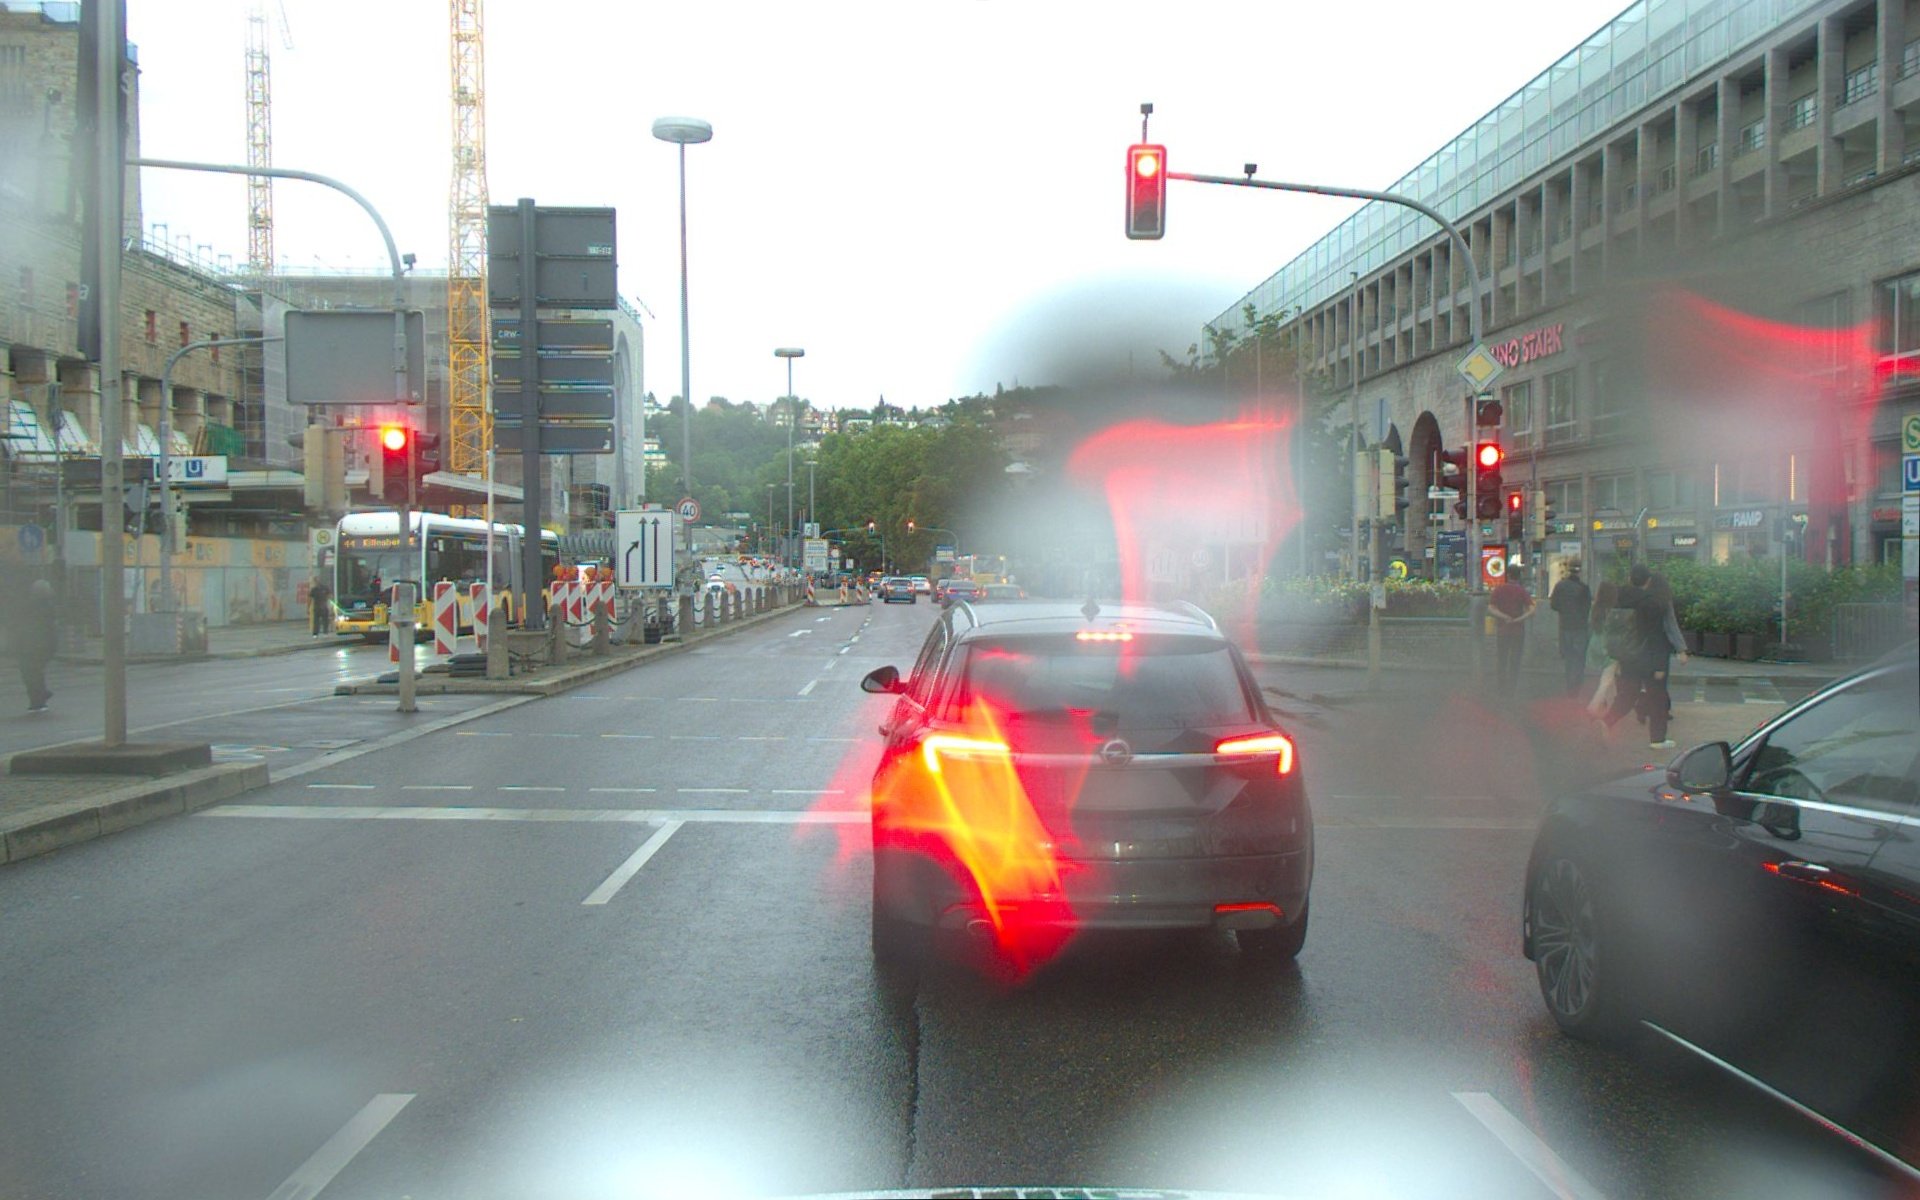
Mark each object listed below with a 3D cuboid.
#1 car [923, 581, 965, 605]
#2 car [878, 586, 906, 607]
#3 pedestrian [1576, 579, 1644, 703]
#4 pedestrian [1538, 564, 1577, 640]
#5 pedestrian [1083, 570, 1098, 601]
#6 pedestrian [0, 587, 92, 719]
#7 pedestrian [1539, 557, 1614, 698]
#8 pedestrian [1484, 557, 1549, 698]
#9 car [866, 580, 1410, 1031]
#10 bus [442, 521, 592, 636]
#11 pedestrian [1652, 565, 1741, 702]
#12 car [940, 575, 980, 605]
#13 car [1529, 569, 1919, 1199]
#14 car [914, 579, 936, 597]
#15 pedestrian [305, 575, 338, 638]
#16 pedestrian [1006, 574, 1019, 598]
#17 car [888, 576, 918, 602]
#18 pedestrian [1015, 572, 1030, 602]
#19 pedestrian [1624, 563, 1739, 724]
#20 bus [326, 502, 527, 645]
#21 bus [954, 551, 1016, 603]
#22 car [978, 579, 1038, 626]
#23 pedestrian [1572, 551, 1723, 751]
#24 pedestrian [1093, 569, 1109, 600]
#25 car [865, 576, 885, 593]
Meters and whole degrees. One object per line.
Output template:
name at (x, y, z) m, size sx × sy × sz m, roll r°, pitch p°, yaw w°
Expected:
car at (-0.978, -0.417, 99.968) m, size 1.722 × 1.422 × 4.389 m, roll 1°, pitch 0°, yaw -12°
car at (-4.745, -0.219, 115.475) m, size 1.808 × 1.422 × 3.563 m, roll 1°, pitch 0°, yaw -1°
pedestrian at (8.014, 0.504, 20.404) m, size 0.665 × 1.500 × 0.366 m, roll 1°, pitch 0°, yaw -6°
pedestrian at (16.288, 0.055, 45.076) m, size 0.751 × 2.049 × 0.820 m, roll 1°, pitch 0°, yaw 41°
pedestrian at (7.535, -0.829, 95.494) m, size 0.748 × 1.720 × 0.824 m, roll 1°, pitch 0°, yaw -5°
pedestrian at (-11.418, 0.645, 20.476) m, size 0.854 × 1.588 × 0.787 m, roll 1°, pitch 0°, yaw 7°
pedestrian at (7.785, 0.340, 20.908) m, size 0.740 × 1.747 × 0.466 m, roll 1°, pitch 0°, yaw -5°
pedestrian at (7.184, 0.354, 21.359) m, size 0.560 × 1.783 × 0.676 m, roll 1°, pitch 0°, yaw 42°
car at (0.568, 0.706, 7.640) m, size 1.837 × 1.512 × 3.999 m, roll 1°, pitch 0°, yaw -1°
bus at (-15.370, -0.683, 58.306) m, size 2.614 × 3.665 × 10.209 m, roll 1°, pitch 0°, yaw -1°
pedestrian at (8.999, 0.408, 20.221) m, size 0.783 × 1.636 × 0.619 m, roll 1°, pitch 0°, yaw -5°
car at (-0.047, -0.501, 82.674) m, size 1.718 × 1.422 × 4.645 m, roll 1°, pitch 0°, yaw -3°
car at (3.042, 0.709, 3.864) m, size 1.757 × 1.528 × 4.627 m, roll 1°, pitch 0°, yaw -1°
car at (-2.886, -0.979, 137.822) m, size 1.808 × 1.422 × 3.563 m, roll 1°, pitch 0°, yaw -1°
pedestrian at (-17.668, 0.179, 45.779) m, size 0.646 × 1.710 × 0.644 m, roll 1°, pitch 0°, yaw -1°
pedestrian at (4.779, -1.251, 150.742) m, size 1.174 × 2.186 × 1.228 m, roll 1°, pitch 0°, yaw 0°
car at (-3.345, -0.617, 96.707) m, size 1.718 × 1.422 × 4.536 m, roll 1°, pitch 0°, yaw -2°
pedestrian at (5.157, -1.064, 136.984) m, size 1.174 × 2.478 × 1.228 m, roll 1°, pitch 0°, yaw 0°
pedestrian at (7.652, 0.455, 17.567) m, size 0.778 × 1.654 × 0.899 m, roll 1°, pitch 0°, yaw -4°
bus at (-15.211, -0.690, 48.123) m, size 2.614 × 3.665 × 10.237 m, roll 1°, pitch 0°, yaw -1°
bus at (1.697, -1.584, 120.922) m, size 4.089 × 3.529 × 14.651 m, roll 1°, pitch 0°, yaw -1°
car at (1.491, 0.083, 52.437) m, size 1.808 × 1.422 × 3.667 m, roll 1°, pitch 0°, yaw 0°
pedestrian at (6.411, 0.464, 15.459) m, size 1.074 × 1.782 × 0.653 m, roll -2°, pitch 0°, yaw -4°
pedestrian at (8.013, -0.885, 94.273) m, size 0.748 × 1.720 × 0.824 m, roll 1°, pitch 0°, yaw -5°
car at (-7.682, -1.390, 149.832) m, size 1.723 × 1.422 × 3.563 m, roll 1°, pitch 0°, yaw -1°
